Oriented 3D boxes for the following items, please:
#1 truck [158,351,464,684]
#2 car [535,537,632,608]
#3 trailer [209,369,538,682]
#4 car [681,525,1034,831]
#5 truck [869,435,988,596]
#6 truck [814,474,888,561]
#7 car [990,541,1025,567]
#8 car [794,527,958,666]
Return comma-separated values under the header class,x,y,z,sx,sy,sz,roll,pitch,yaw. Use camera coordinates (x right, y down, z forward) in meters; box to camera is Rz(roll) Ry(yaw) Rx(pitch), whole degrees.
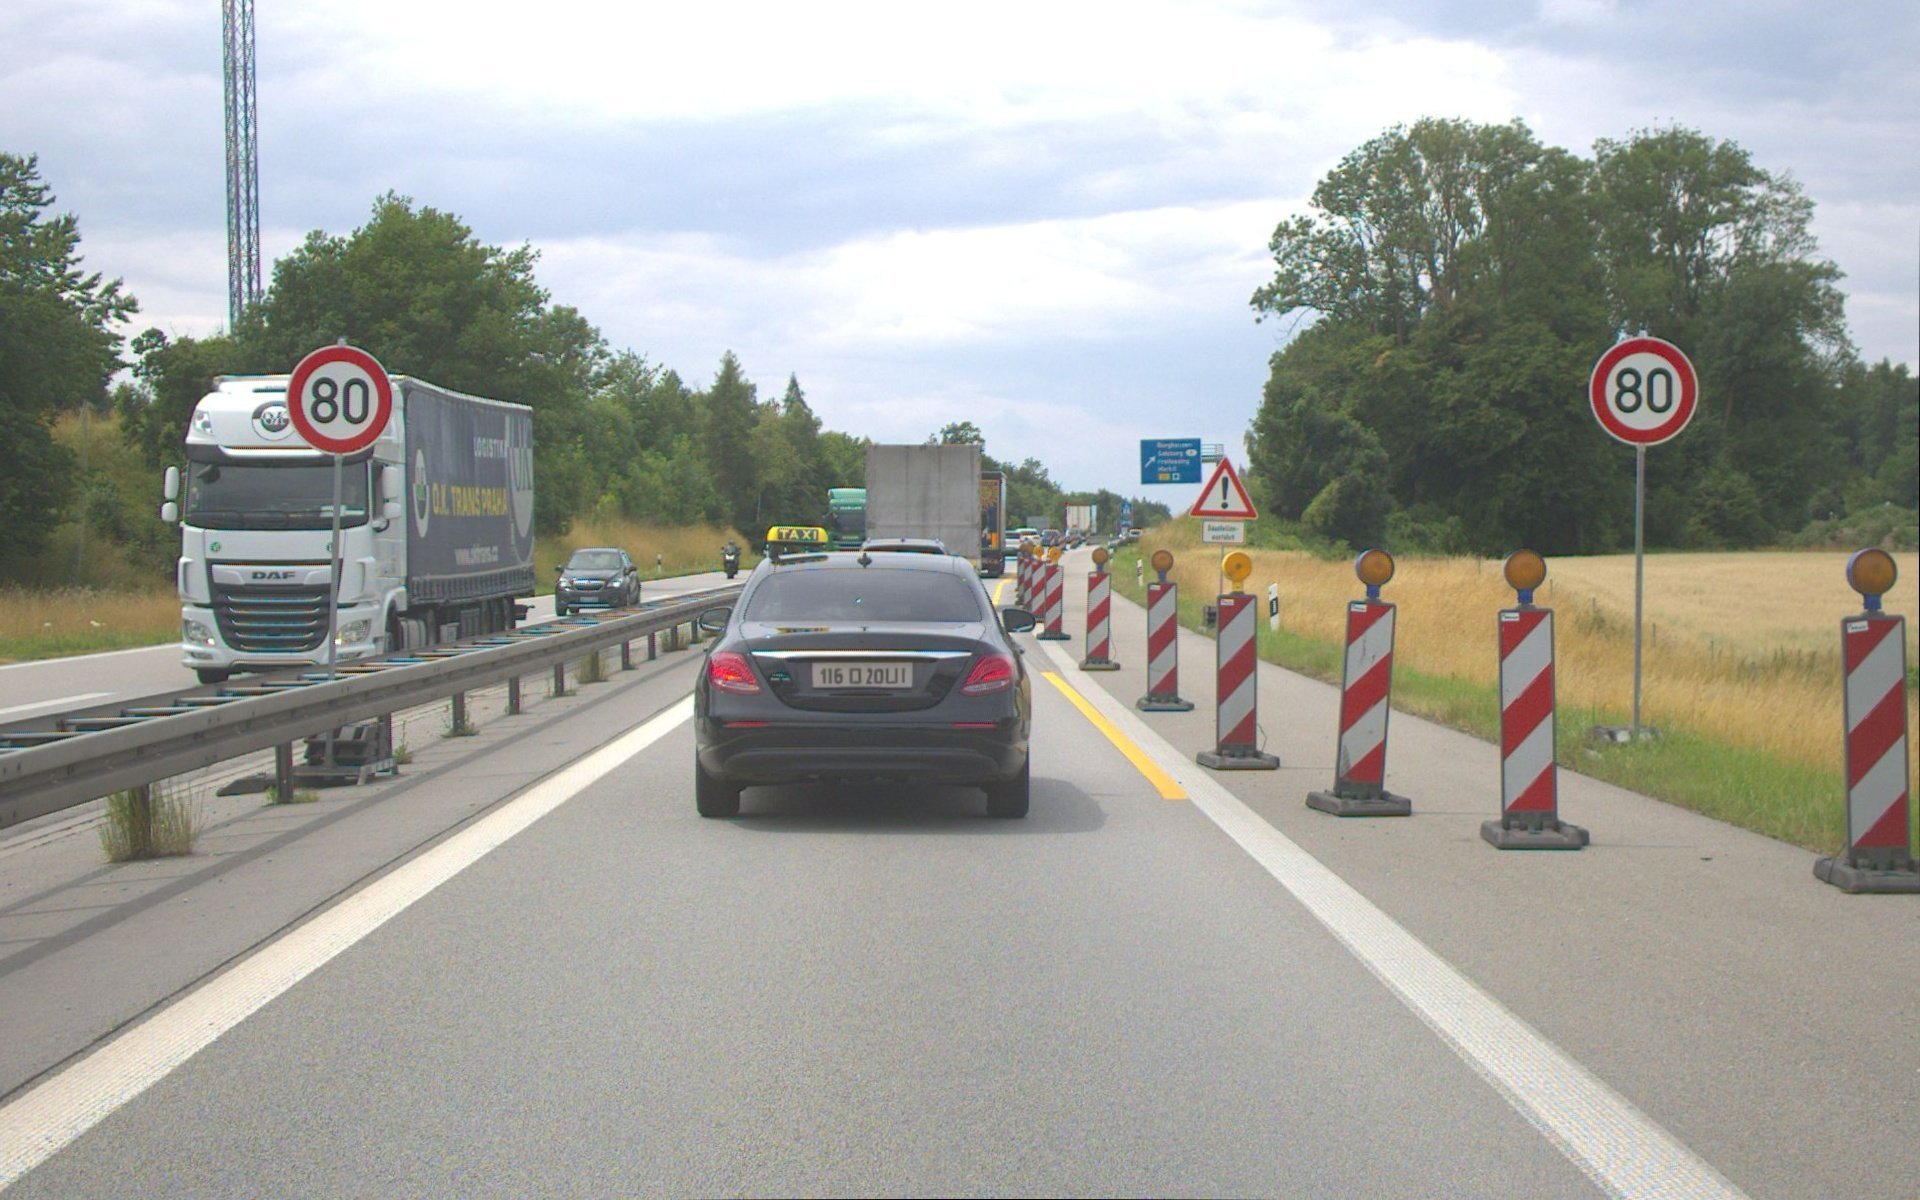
class,x,y,z,sx,sy,sz,roll,pitch,yaw
truck,-8.672,-1.059,46.767,2.798,4.128,7.229,1,0,0
car,-9.304,-0.677,85.216,1.993,1.678,4.234,1,0,-1
trailer,-8.702,-1.040,52.935,2.798,4.158,13.564,1,0,0
car,-0.585,0.390,19.707,1.795,1.554,4.000,1,0,-2
truck,-0.740,-1.889,78.259,2.587,3.512,4.813,1,0,-1
truck,-5.472,-4.130,174.014,3.123,4.198,6.780,1,0,3
car,2.650,-2.553,191.442,1.649,1.391,3.706,1,0,-4
car,-1.333,-0.064,52.495,1.993,2.007,4.001,1,0,-9
